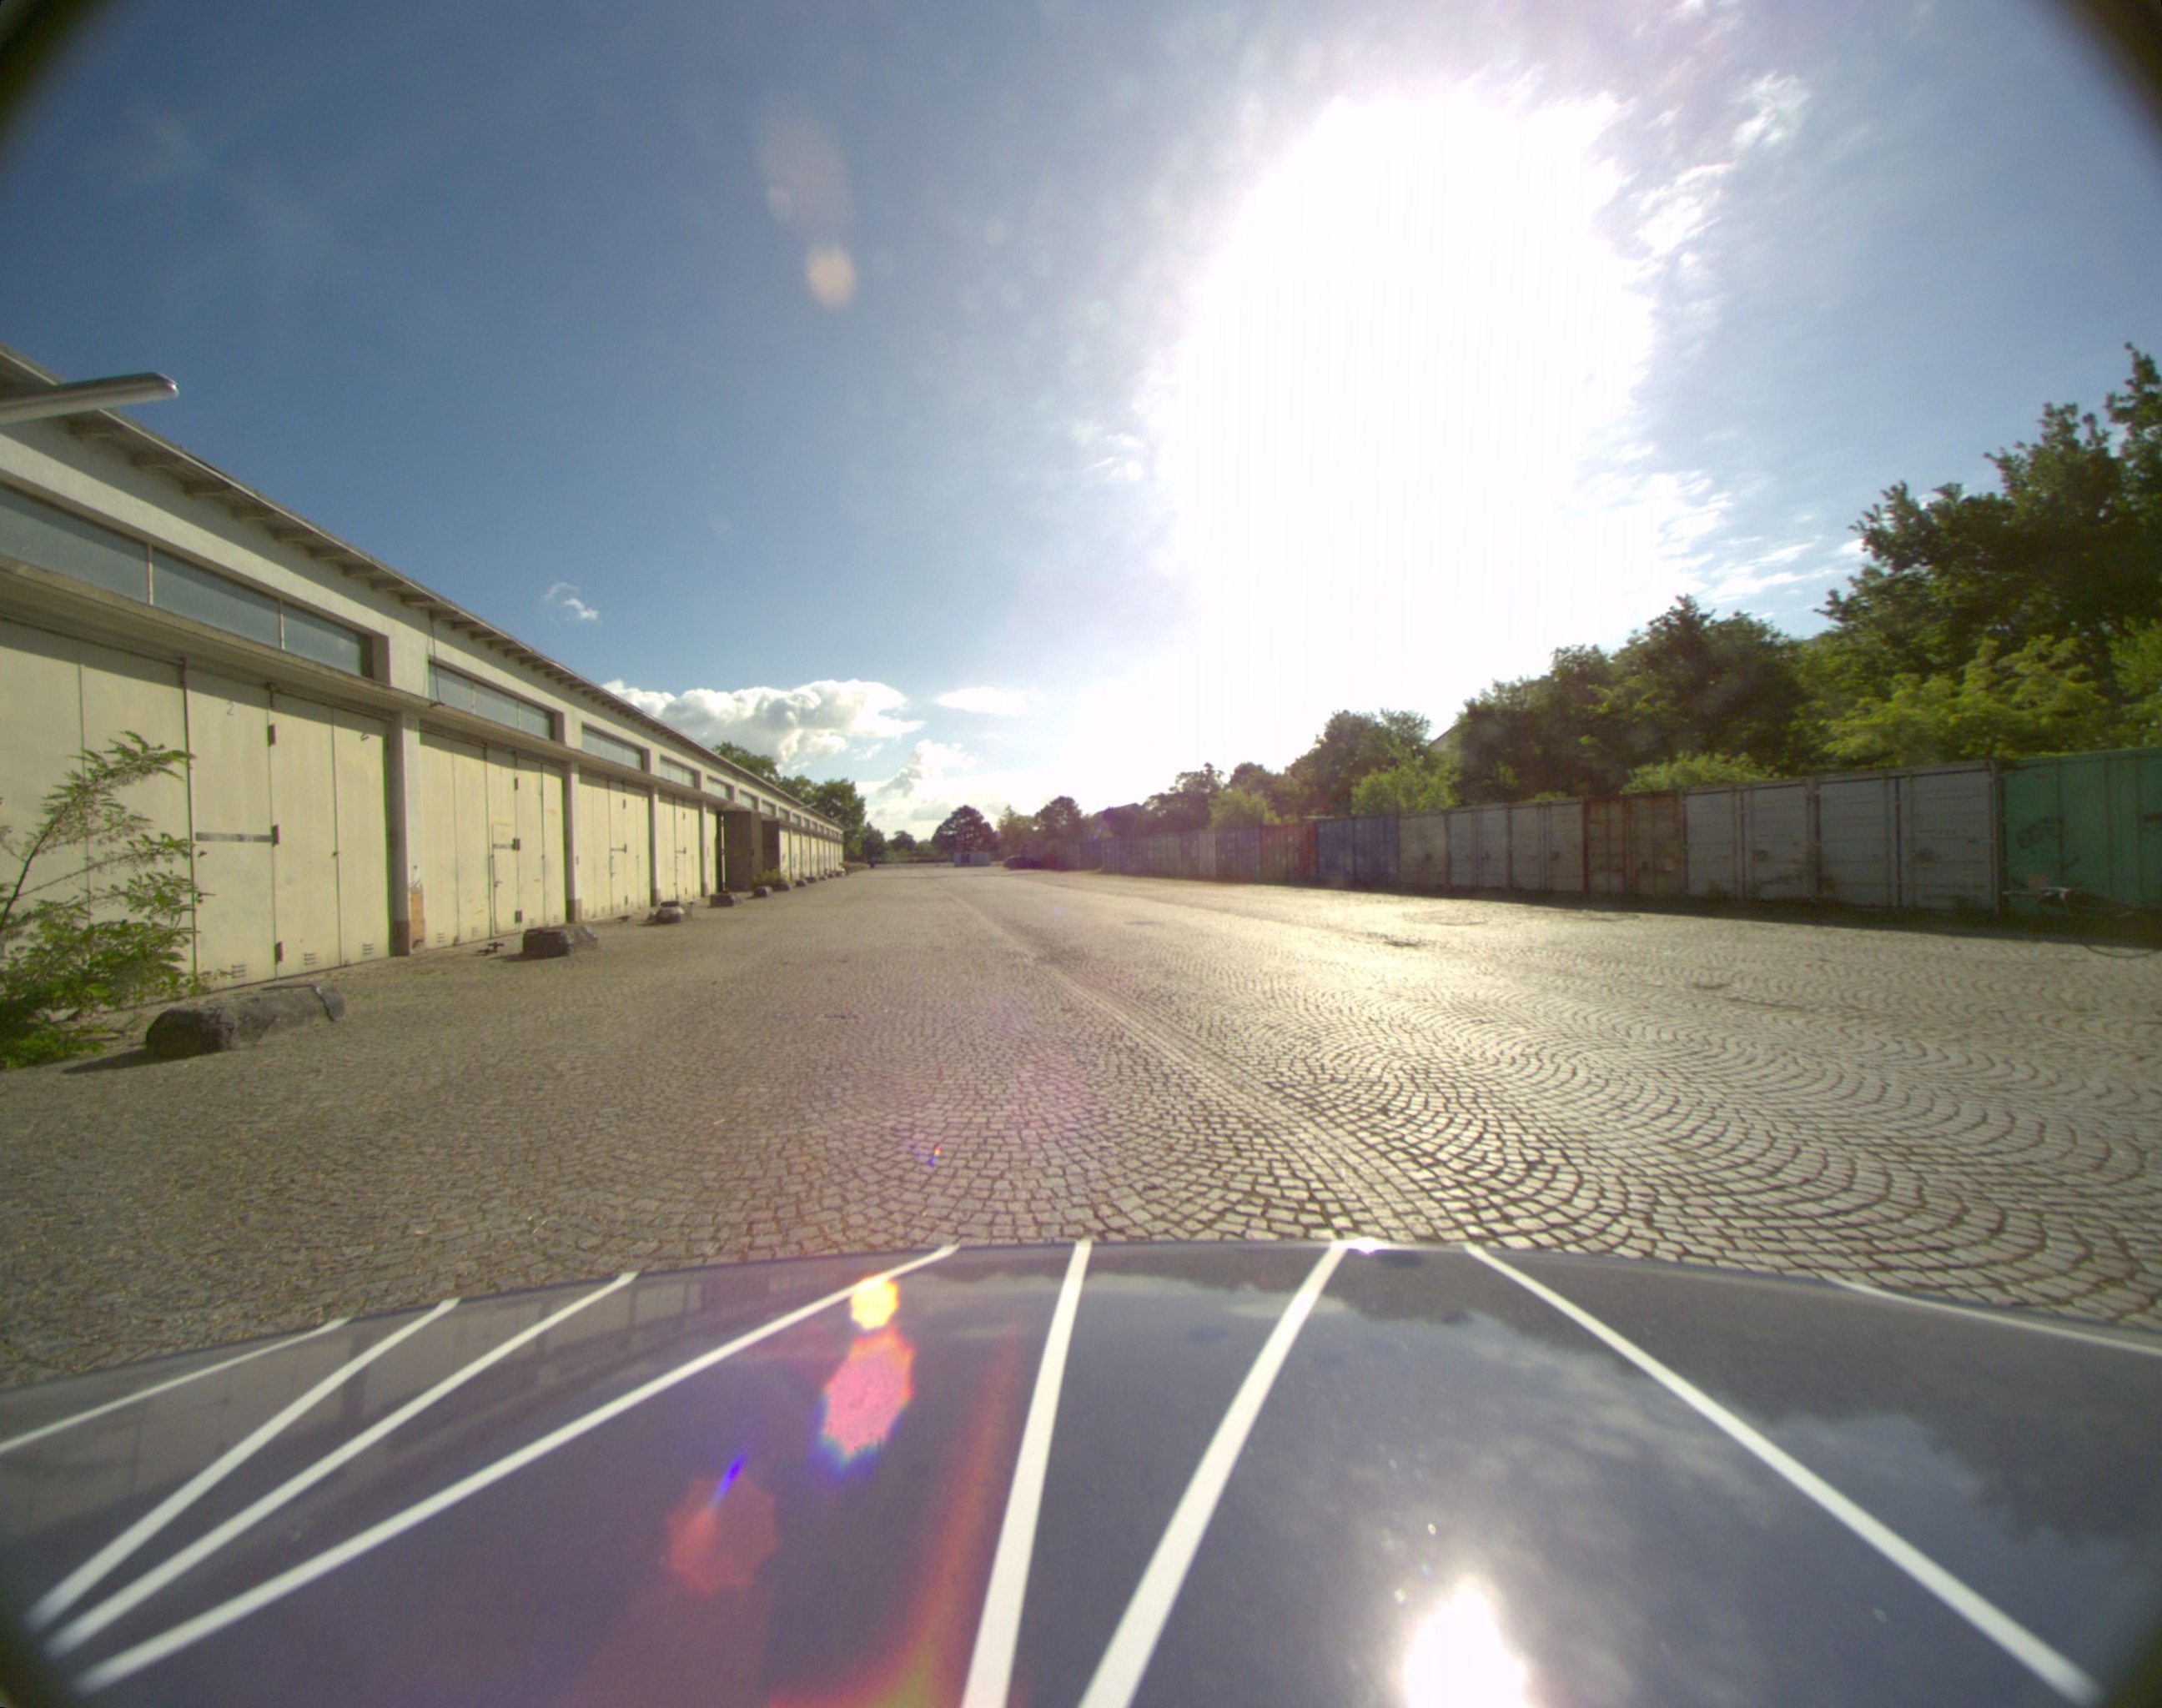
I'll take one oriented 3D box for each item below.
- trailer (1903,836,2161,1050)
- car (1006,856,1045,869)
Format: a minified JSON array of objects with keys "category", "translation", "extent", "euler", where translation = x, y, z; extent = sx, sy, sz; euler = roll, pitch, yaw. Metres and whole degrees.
[{"category":"trailer","translation":[9.793,0.612,4.239],"extent":[2.856,1.509,6.486],"euler":[-3,0,-13]},{"category":"car","translation":[-5.995,0.873,82.213],"extent":[3.879,1.259,1.588],"euler":[-2,1,-15]}]
